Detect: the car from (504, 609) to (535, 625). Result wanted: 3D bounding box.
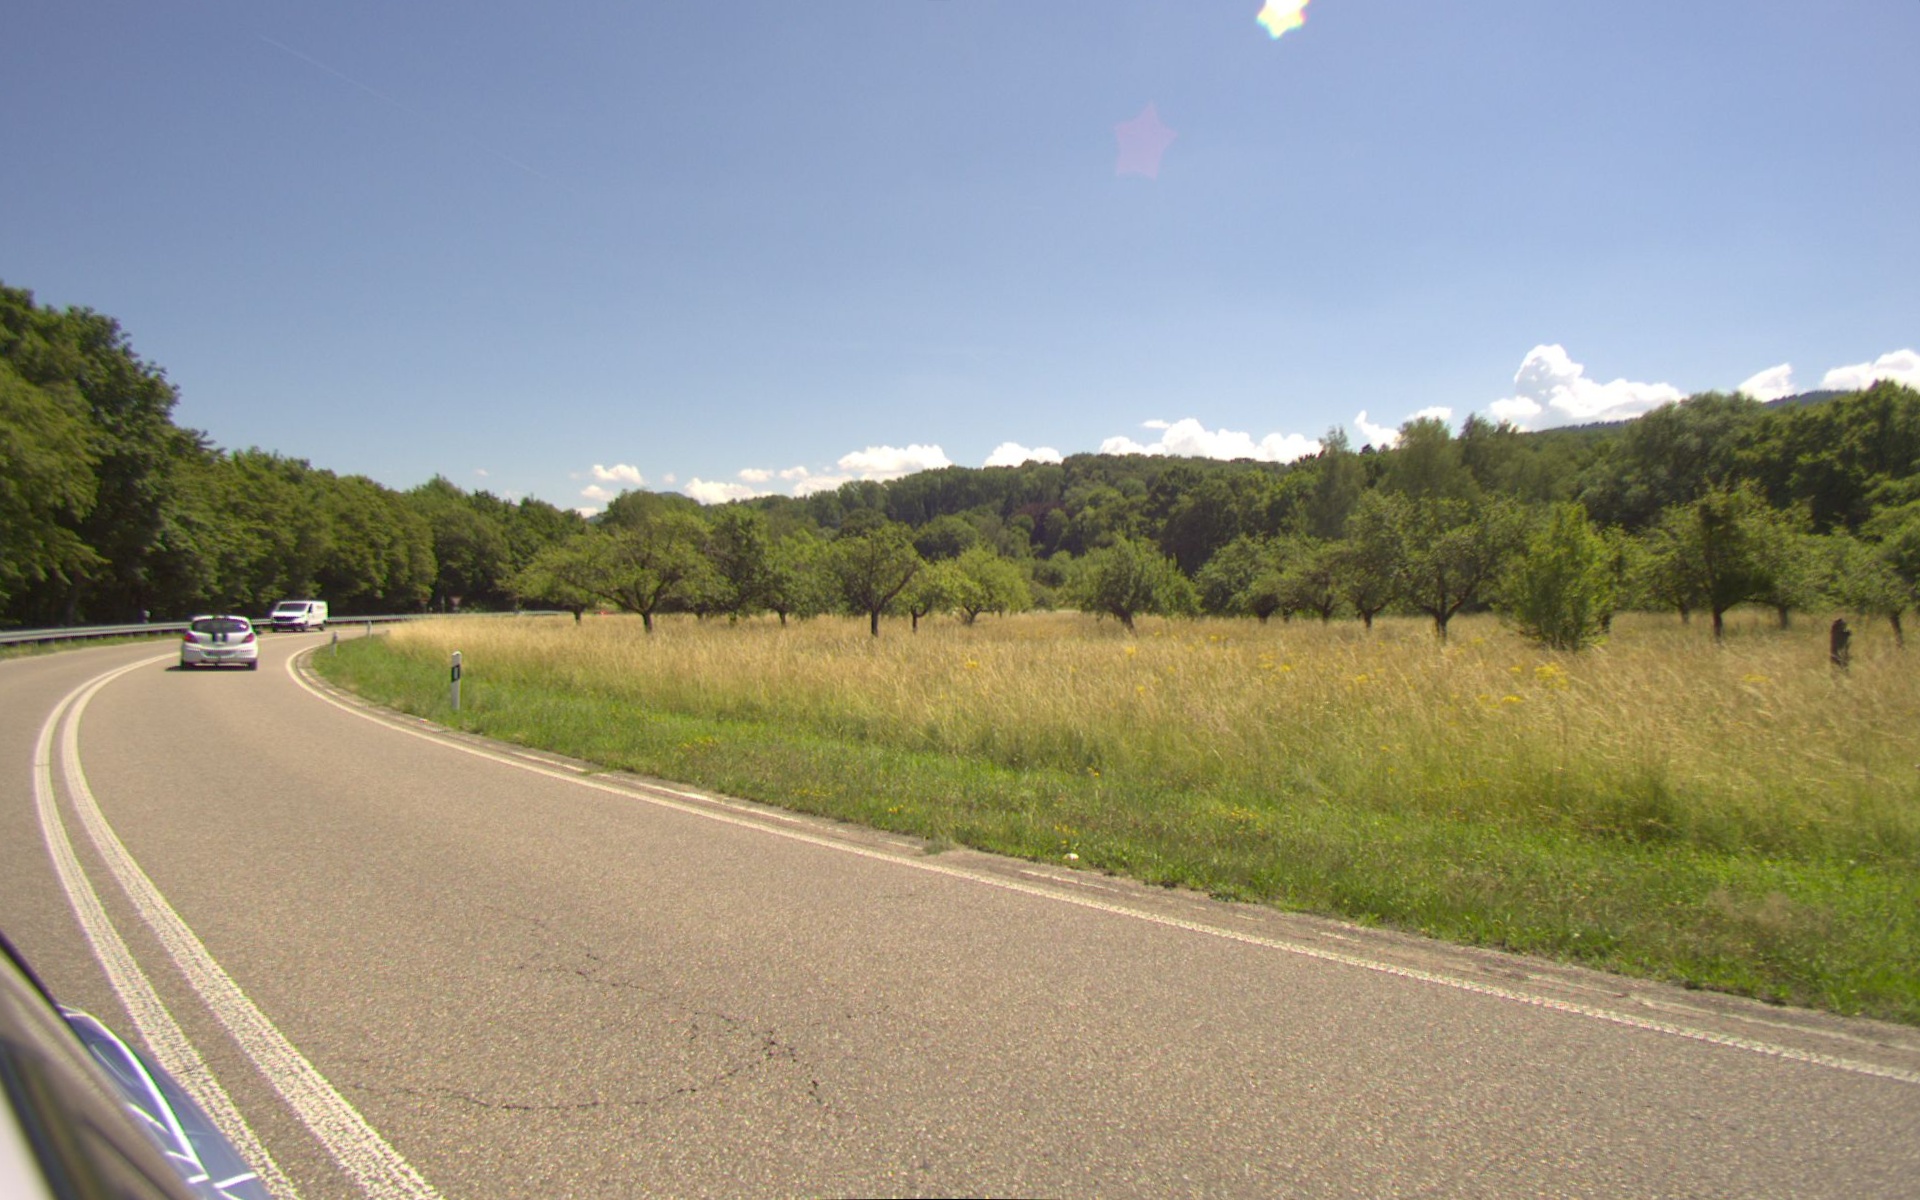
[{"bbox_3d":[-45.097,1.702,103.599,1.799,1.469,4.409,4,0,-9],"label":"car"}]

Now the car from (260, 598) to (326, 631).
[{"bbox_3d":[-43.248,0.905,65.723,2.188,2.048,5.444,-1,0,-18],"label":"car"}]

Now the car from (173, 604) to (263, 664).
[{"bbox_3d":[-20.578,0.940,28.203,1.797,1.518,4.183,3,-3,-34],"label":"car"}]
